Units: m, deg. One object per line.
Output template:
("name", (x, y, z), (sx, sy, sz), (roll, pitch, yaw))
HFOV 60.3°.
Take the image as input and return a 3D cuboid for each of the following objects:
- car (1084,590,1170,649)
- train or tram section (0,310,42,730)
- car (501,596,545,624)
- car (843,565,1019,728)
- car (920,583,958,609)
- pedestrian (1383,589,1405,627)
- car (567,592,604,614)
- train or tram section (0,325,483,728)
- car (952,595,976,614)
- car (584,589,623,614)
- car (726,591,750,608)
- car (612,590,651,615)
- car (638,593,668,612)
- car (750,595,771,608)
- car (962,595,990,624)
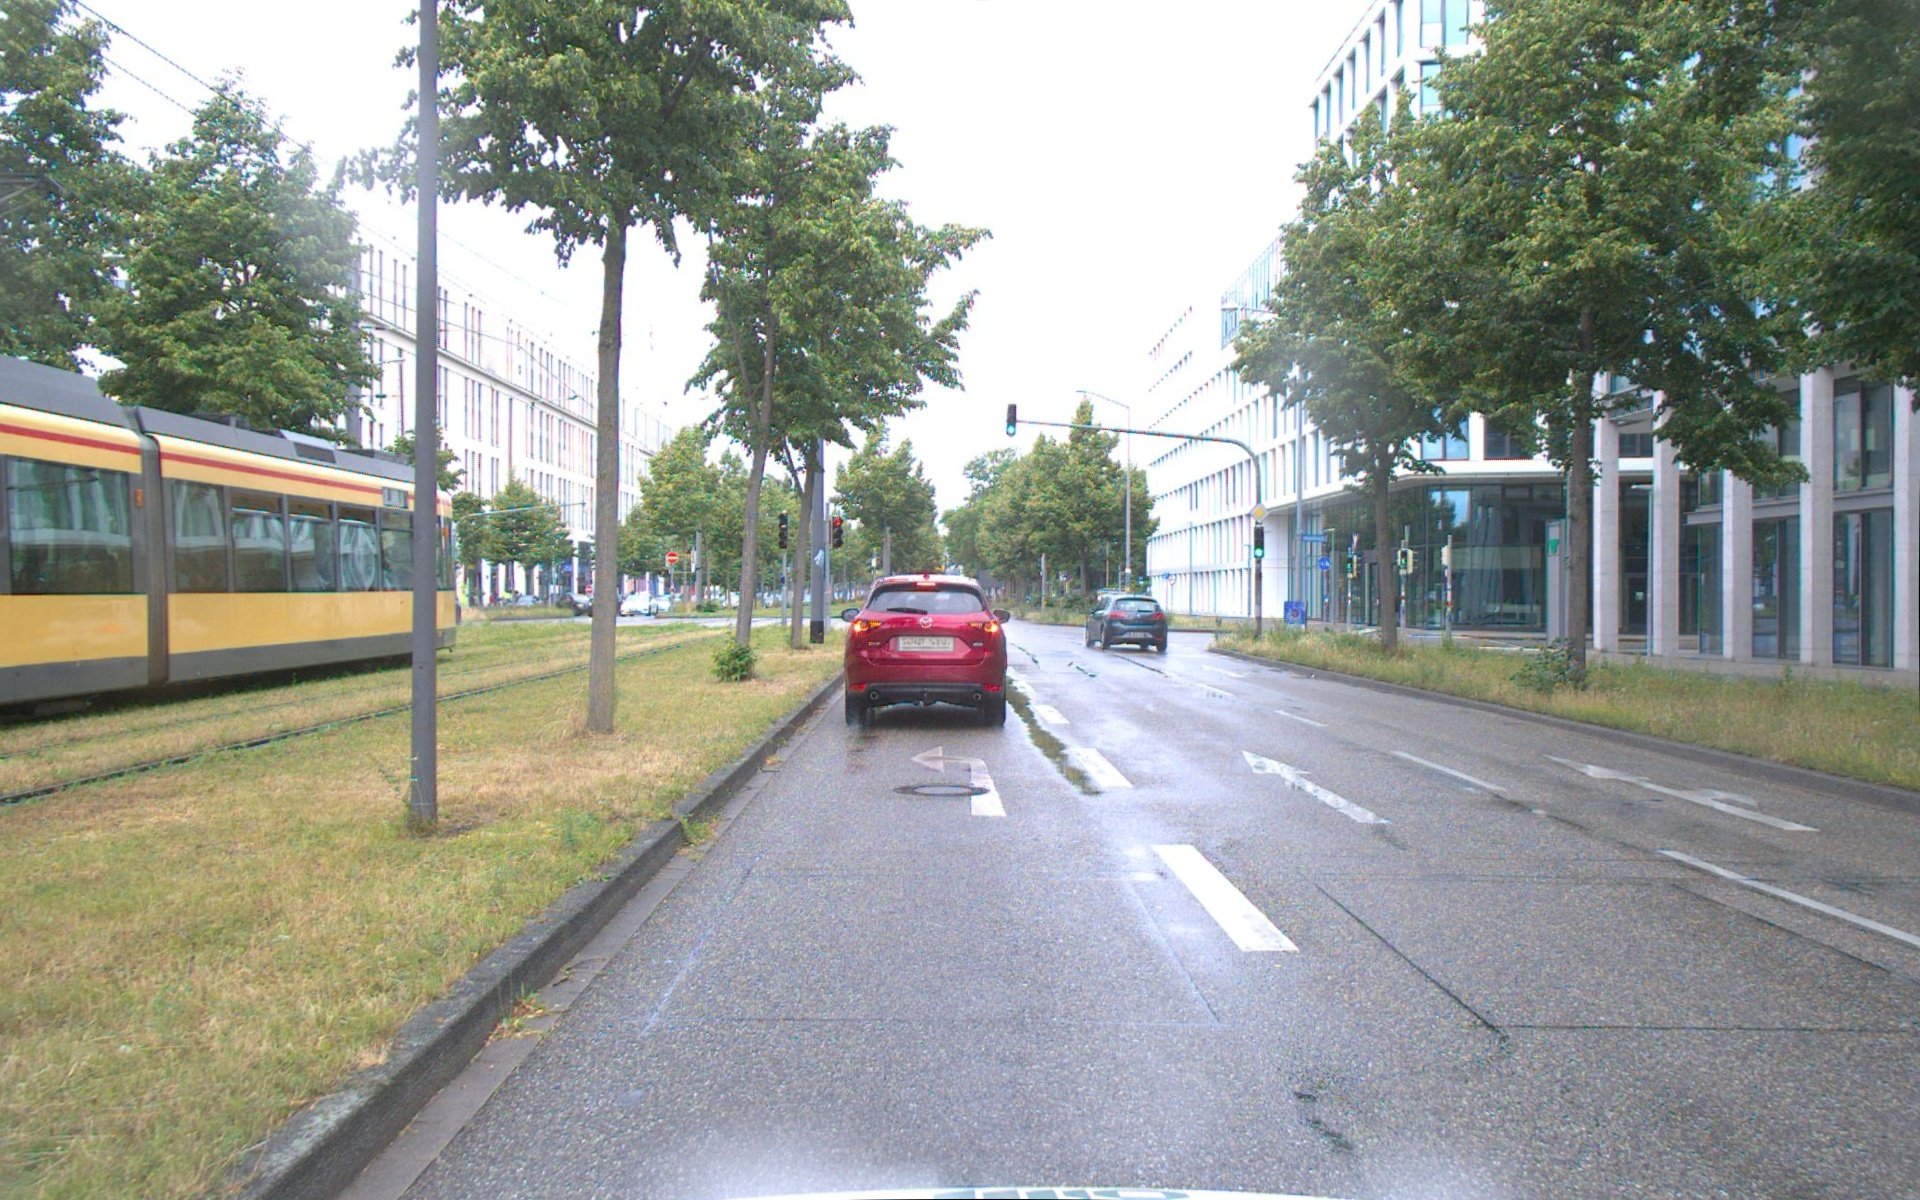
("car", (4.443, 0.494, 44.454), (1.709, 1.490, 3.779), (1, 0, -3))
("train or tram section", (-9.950, -0.675, 8.587), (3.065, 3.723, 13.404), (1, 0, -1))
("car", (-29.336, 0.656, 111.149), (1.953, 1.870, 3.999), (1, 0, -2))
("car", (-0.355, 0.481, 19.564), (1.860, 1.706, 3.999), (1, 0, -1))
("car", (-1.297, -0.244, 100.674), (1.929, 1.462, 4.548), (2, 0, -5))
("pedestrian", (19.769, 0.354, 75.283), (0.768, 1.737, 0.677), (1, 0, 37))
("car", (-27.057, 0.211, 119.690), (1.954, 1.510, 4.442), (0, 0, -4))
("train or tram section", (-10.185, -0.753, 22.814), (3.065, 3.723, 15.061), (1, 0, -1))
("car", (0.335, 0.407, 141.663), (1.953, 1.558, 3.999), (0, 0, -1))
("car", (-24.044, 0.057, 111.734), (1.953, 1.646, 3.998), (0, 0, -3))
("car", (-20.671, -0.076, 154.108), (1.954, 1.510, 4.442), (0, 0, -4))
("car", (-21.250, 0.144, 107.155), (1.954, 1.510, 4.441), (1, 0, -5))
("car", (-24.688, 0.178, 133.109), (1.955, 1.510, 4.440), (0, 0, -6))
("car", (-22.992, 0.161, 190.888), (1.953, 1.510, 4.445), (0, 0, -1))
("car", (1.123, 0.658, 120.940), (1.953, 2.049, 3.999), (0, 0, -1))
